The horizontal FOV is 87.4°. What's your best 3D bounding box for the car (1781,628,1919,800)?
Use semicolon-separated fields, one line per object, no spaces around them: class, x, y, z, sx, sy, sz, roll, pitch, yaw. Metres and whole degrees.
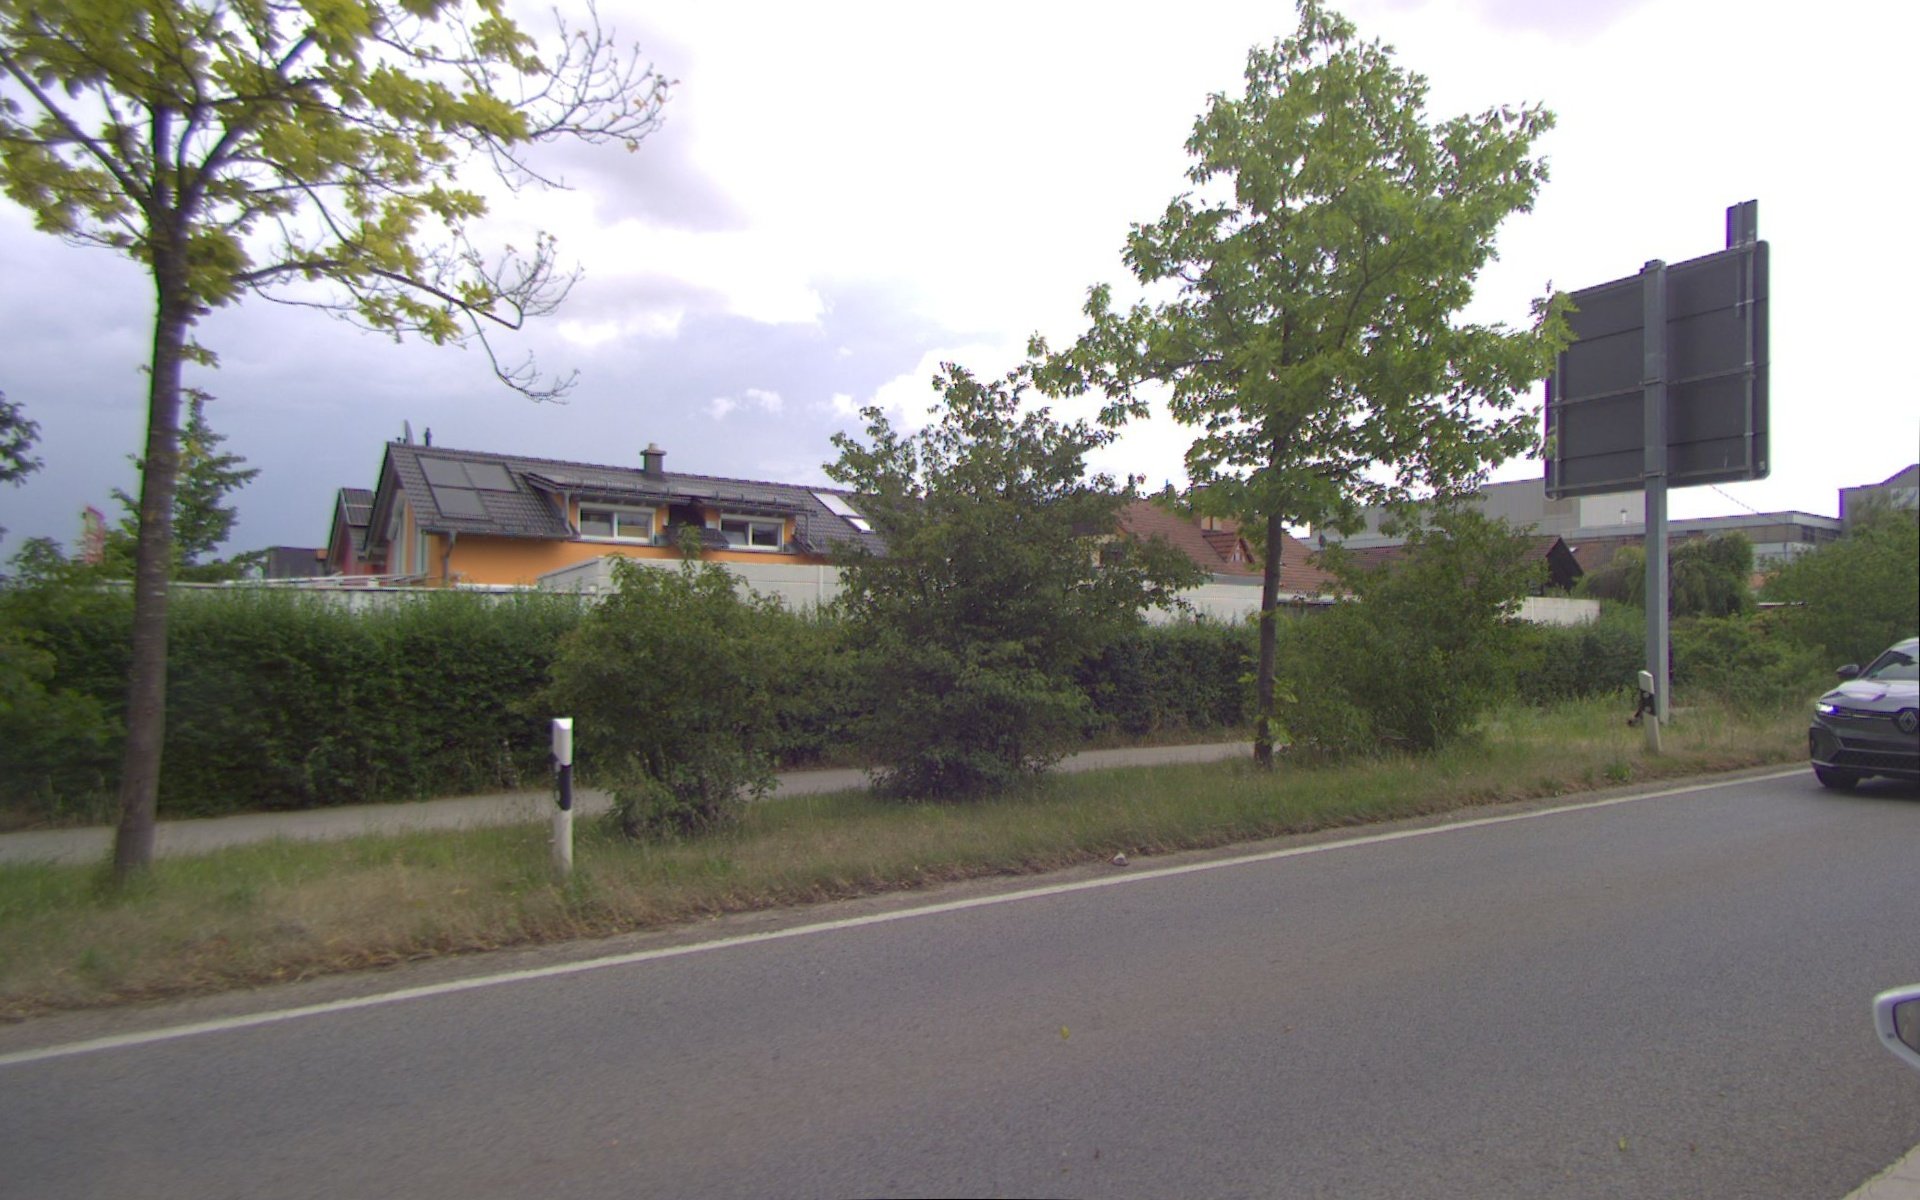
car;10.223;1.041;10.025;4.155;1.513;1.807;1;-3;-31
